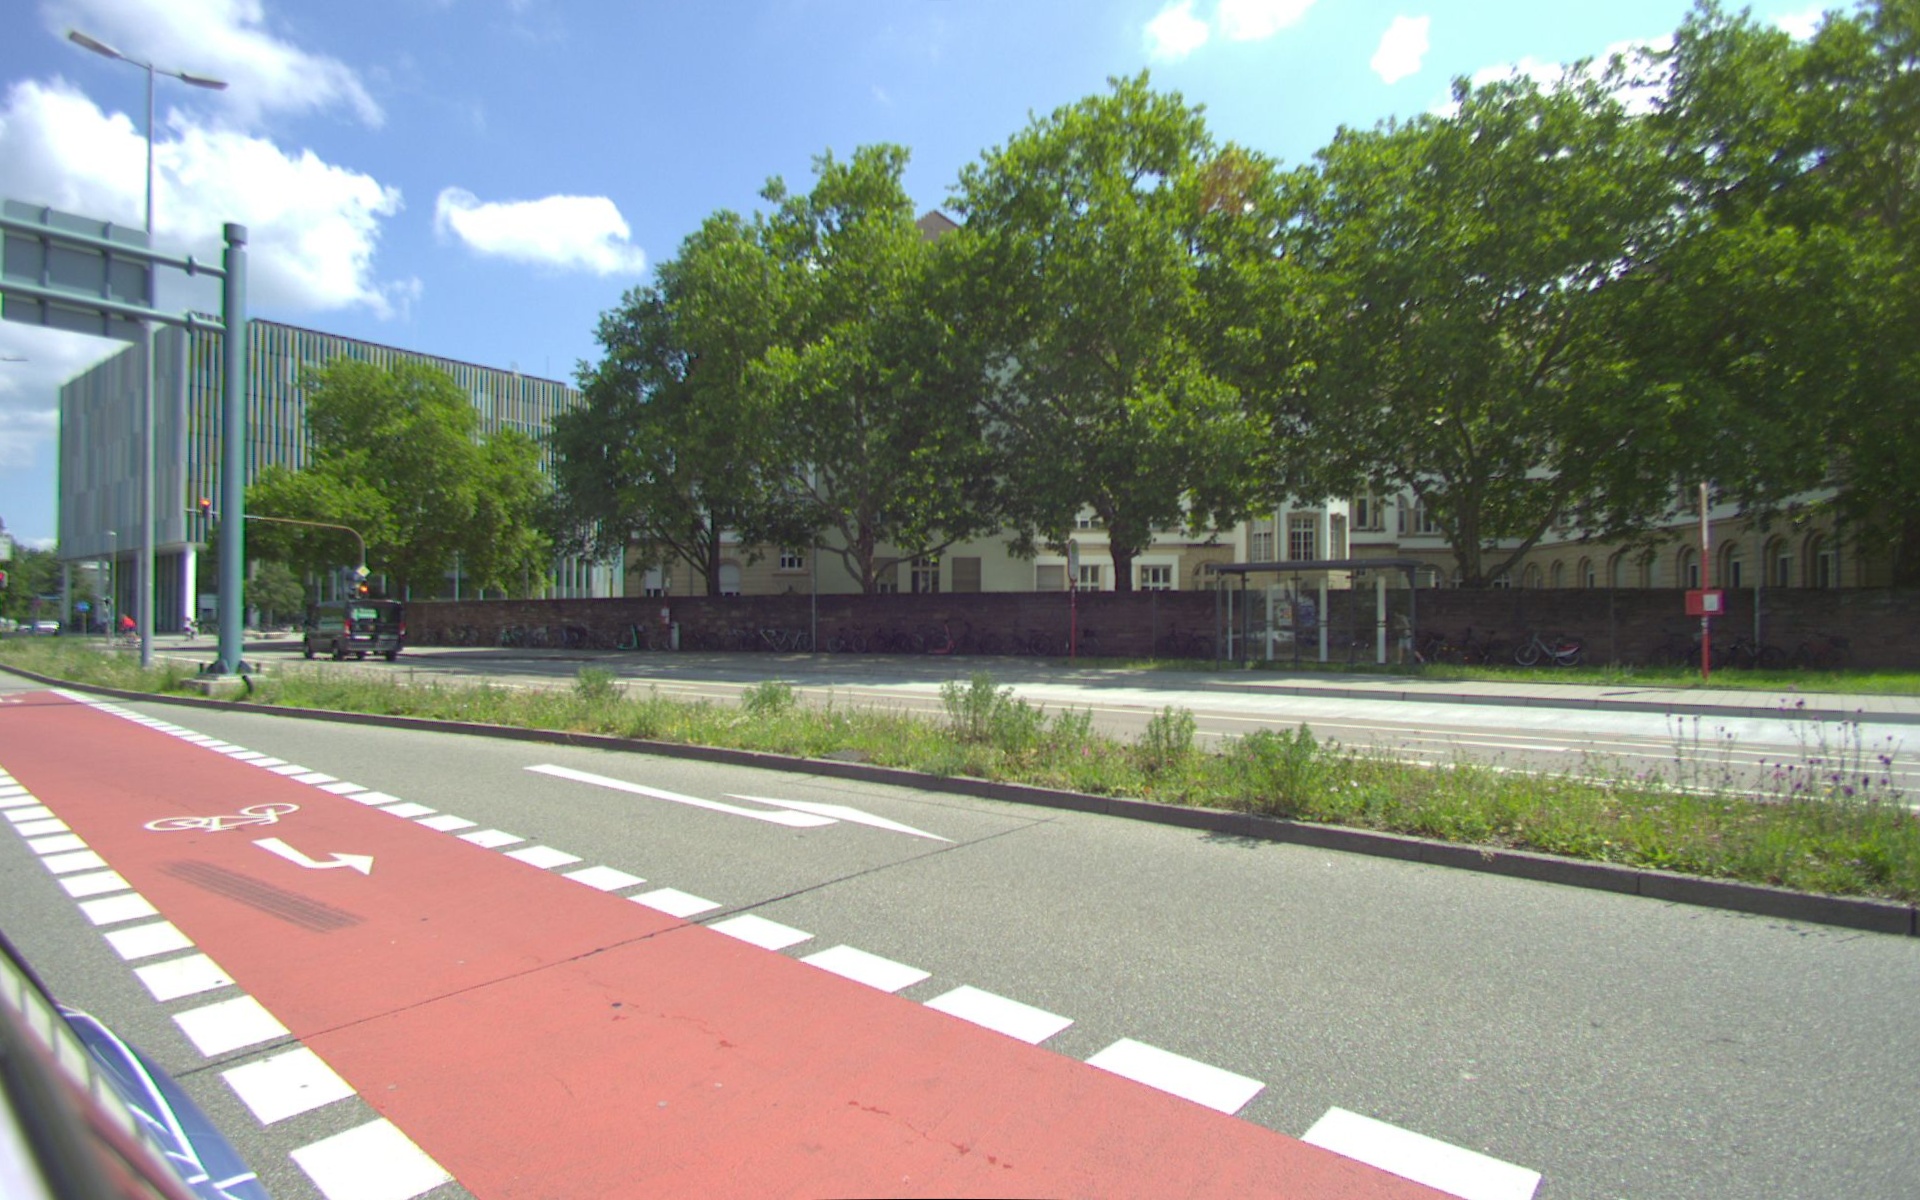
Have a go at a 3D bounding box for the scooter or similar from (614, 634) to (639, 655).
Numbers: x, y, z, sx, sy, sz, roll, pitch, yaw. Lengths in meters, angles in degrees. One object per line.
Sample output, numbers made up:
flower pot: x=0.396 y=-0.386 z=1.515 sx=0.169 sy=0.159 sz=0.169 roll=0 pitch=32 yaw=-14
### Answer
scooter or similar: x=-13.838 y=1.845 z=41.988 sx=1.065 sy=0.850 sz=0.350 roll=-1 pitch=-2 yaw=28

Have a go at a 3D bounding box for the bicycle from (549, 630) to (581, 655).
bicycle: x=-17.615 y=1.881 z=45.133 sx=1.665 sy=1.116 sz=0.378 roll=-1 pitch=-2 yaw=32

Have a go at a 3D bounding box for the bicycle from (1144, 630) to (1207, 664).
bicycle: x=6.899 y=1.494 z=32.431 sx=1.944 sy=1.051 sz=0.395 roll=-1 pitch=-2 yaw=22

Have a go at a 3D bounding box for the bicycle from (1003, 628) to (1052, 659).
bicycle: x=2.307 y=1.474 z=34.421 sx=1.628 sy=1.051 sz=0.395 roll=-1 pitch=-2 yaw=22

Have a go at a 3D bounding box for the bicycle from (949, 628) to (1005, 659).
bicycle: x=0.580 y=1.489 z=35.138 sx=1.946 sy=1.051 sz=0.395 roll=-1 pitch=-2 yaw=24

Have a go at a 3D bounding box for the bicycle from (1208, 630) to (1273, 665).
bicycle: x=8.765 y=1.476 z=31.652 sx=1.944 sy=1.051 sz=0.395 roll=-1 pitch=-2 yaw=22

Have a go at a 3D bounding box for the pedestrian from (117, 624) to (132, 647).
pedestrian: x=-71.428 y=3.027 z=86.559 sx=0.806 sy=1.931 sz=0.816 roll=0 pitch=0 yaw=35

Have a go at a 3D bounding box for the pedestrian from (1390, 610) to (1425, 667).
pedestrian: x=12.839 y=1.103 z=29.052 sx=0.773 sy=1.623 sz=0.720 roll=0 pitch=-1 yaw=12

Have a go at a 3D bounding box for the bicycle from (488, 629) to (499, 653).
bicycle: x=-21.819 y=1.901 z=47.360 sx=0.376 sy=1.116 sz=1.675 roll=1 pitch=-2 yaw=-28

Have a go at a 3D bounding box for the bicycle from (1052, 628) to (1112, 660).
bicycle: x=4.059 y=1.468 z=33.704 sx=1.944 sy=1.051 sz=0.395 roll=-1 pitch=-2 yaw=22

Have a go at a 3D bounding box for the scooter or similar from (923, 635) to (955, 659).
scooter or similar: x=-0.728 y=1.624 z=35.045 sx=1.060 sy=0.800 sz=0.351 roll=0 pitch=-1 yaw=16

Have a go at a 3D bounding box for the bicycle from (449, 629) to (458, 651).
bicycle: x=-24.812 y=1.945 z=49.580 sx=0.324 sy=1.025 sz=1.675 roll=1 pitch=-2 yaw=-28

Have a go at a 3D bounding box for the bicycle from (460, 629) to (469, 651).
bicycle: x=-24.026 y=1.943 z=49.074 sx=0.324 sy=1.025 sz=1.675 roll=1 pitch=-2 yaw=-28

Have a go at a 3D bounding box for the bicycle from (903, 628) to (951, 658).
bicycle: x=-1.177 y=1.518 z=35.967 sx=1.752 sy=1.051 sz=0.394 roll=-1 pitch=-2 yaw=26

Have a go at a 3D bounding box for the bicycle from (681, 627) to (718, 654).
bicycle: x=-10.513 y=1.634 z=40.856 sx=1.663 sy=1.051 sz=0.379 roll=-1 pitch=-2 yaw=29

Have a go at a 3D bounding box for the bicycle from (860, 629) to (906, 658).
bicycle: x=-2.799 y=1.573 z=36.778 sx=1.753 sy=1.011 sz=0.394 roll=-1 pitch=-2 yaw=27

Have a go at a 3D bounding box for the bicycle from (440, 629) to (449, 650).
bicycle: x=-25.450 y=1.950 z=49.957 sx=0.324 sy=1.025 sz=1.675 roll=1 pitch=-2 yaw=-28

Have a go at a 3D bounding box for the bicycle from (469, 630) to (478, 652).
bicycle: x=-23.418 y=1.945 z=48.688 sx=0.324 sy=1.025 sz=1.675 roll=1 pitch=-2 yaw=-28

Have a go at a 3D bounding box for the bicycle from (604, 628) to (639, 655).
bicycle: x=-14.456 y=1.771 z=43.170 sx=1.663 sy=1.116 sz=0.379 roll=-1 pitch=-2 yaw=29

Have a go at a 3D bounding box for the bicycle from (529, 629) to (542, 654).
bicycle: x=-19.260 y=1.880 z=45.942 sx=0.376 sy=1.116 sz=1.675 roll=1 pitch=-2 yaw=-28

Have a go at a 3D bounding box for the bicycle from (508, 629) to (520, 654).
bicycle: x=-20.636 y=1.893 z=46.818 sx=0.376 sy=1.116 sz=1.675 roll=1 pitch=-2 yaw=-28

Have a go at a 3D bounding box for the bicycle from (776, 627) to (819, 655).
bicycle: x=-6.182 y=1.541 z=38.495 sx=1.753 sy=1.051 sz=0.394 roll=-1 pitch=-2 yaw=27

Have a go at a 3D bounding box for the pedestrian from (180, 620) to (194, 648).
pedestrian: x=-53.899 y=2.348 z=70.555 sx=0.717 sy=1.932 sz=0.624 roll=0 pitch=0 yaw=38

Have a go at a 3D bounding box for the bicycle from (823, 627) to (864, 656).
bicycle: x=-4.338 y=1.548 z=37.567 sx=1.575 sy=1.051 sz=0.394 roll=-1 pitch=-2 yaw=27

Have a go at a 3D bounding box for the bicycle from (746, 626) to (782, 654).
bicycle: x=-7.599 y=1.552 z=39.226 sx=1.409 sy=1.051 sz=0.374 roll=-1 pitch=-2 yaw=27

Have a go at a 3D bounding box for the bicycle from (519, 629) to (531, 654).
bicycle: x=-19.920 y=1.885 z=46.333 sx=0.376 sy=1.116 sz=1.675 roll=1 pitch=-2 yaw=-28

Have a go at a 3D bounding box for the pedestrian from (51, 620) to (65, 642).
pedestrian: x=-79.106 y=2.712 z=88.760 sx=0.806 sy=1.931 sz=0.707 roll=0 pitch=0 yaw=35

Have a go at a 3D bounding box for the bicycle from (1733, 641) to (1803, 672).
bicycle: x=22.040 y=1.536 z=27.619 sx=1.452 sy=0.795 sz=0.396 roll=0 pitch=-1 yaw=15

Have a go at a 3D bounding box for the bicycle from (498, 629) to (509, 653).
bicycle: x=-21.322 y=1.897 z=47.270 sx=0.376 sy=1.116 sz=1.675 roll=1 pitch=-2 yaw=-28

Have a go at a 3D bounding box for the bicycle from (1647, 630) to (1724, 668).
bicycle: x=20.129 y=1.362 z=28.091 sx=1.671 sy=1.038 sz=0.396 roll=0 pitch=-1 yaw=15

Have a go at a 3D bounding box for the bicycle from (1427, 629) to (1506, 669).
bicycle: x=14.838 y=1.429 z=29.692 sx=2.021 sy=1.146 sz=0.396 roll=0 pitch=-1 yaw=17

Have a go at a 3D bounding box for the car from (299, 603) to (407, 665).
car: x=-22.658 y=1.281 z=37.711 sx=4.519 sy=2.188 sz=2.185 roll=-2 pitch=-3 yaw=42

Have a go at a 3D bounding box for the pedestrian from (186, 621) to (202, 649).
pedestrian: x=-54.408 y=2.481 z=71.876 sx=0.806 sy=1.931 sz=0.707 roll=0 pitch=0 yaw=35

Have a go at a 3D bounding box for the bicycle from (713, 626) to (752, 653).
bicycle: x=-8.989 y=1.565 z=39.995 sx=1.663 sy=1.051 sz=0.379 roll=-1 pitch=-2 yaw=29

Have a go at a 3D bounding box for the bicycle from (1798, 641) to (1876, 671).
bicycle: x=23.530 y=1.497 z=27.173 sx=1.529 sy=0.795 sz=0.396 roll=0 pitch=-1 yaw=15

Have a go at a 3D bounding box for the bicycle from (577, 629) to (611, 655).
bicycle: x=-15.922 y=1.825 z=44.020 sx=1.664 sy=1.116 sz=0.379 roll=-1 pitch=-2 yaw=30

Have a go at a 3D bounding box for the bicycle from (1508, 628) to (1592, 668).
bicycle: x=16.927 y=1.367 z=29.085 sx=2.021 sy=1.146 sz=0.396 roll=0 pitch=-1 yaw=17

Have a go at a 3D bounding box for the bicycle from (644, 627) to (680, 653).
bicycle: x=-12.295 y=1.645 z=41.719 sx=1.663 sy=1.051 sz=0.379 roll=-1 pitch=-2 yaw=29
